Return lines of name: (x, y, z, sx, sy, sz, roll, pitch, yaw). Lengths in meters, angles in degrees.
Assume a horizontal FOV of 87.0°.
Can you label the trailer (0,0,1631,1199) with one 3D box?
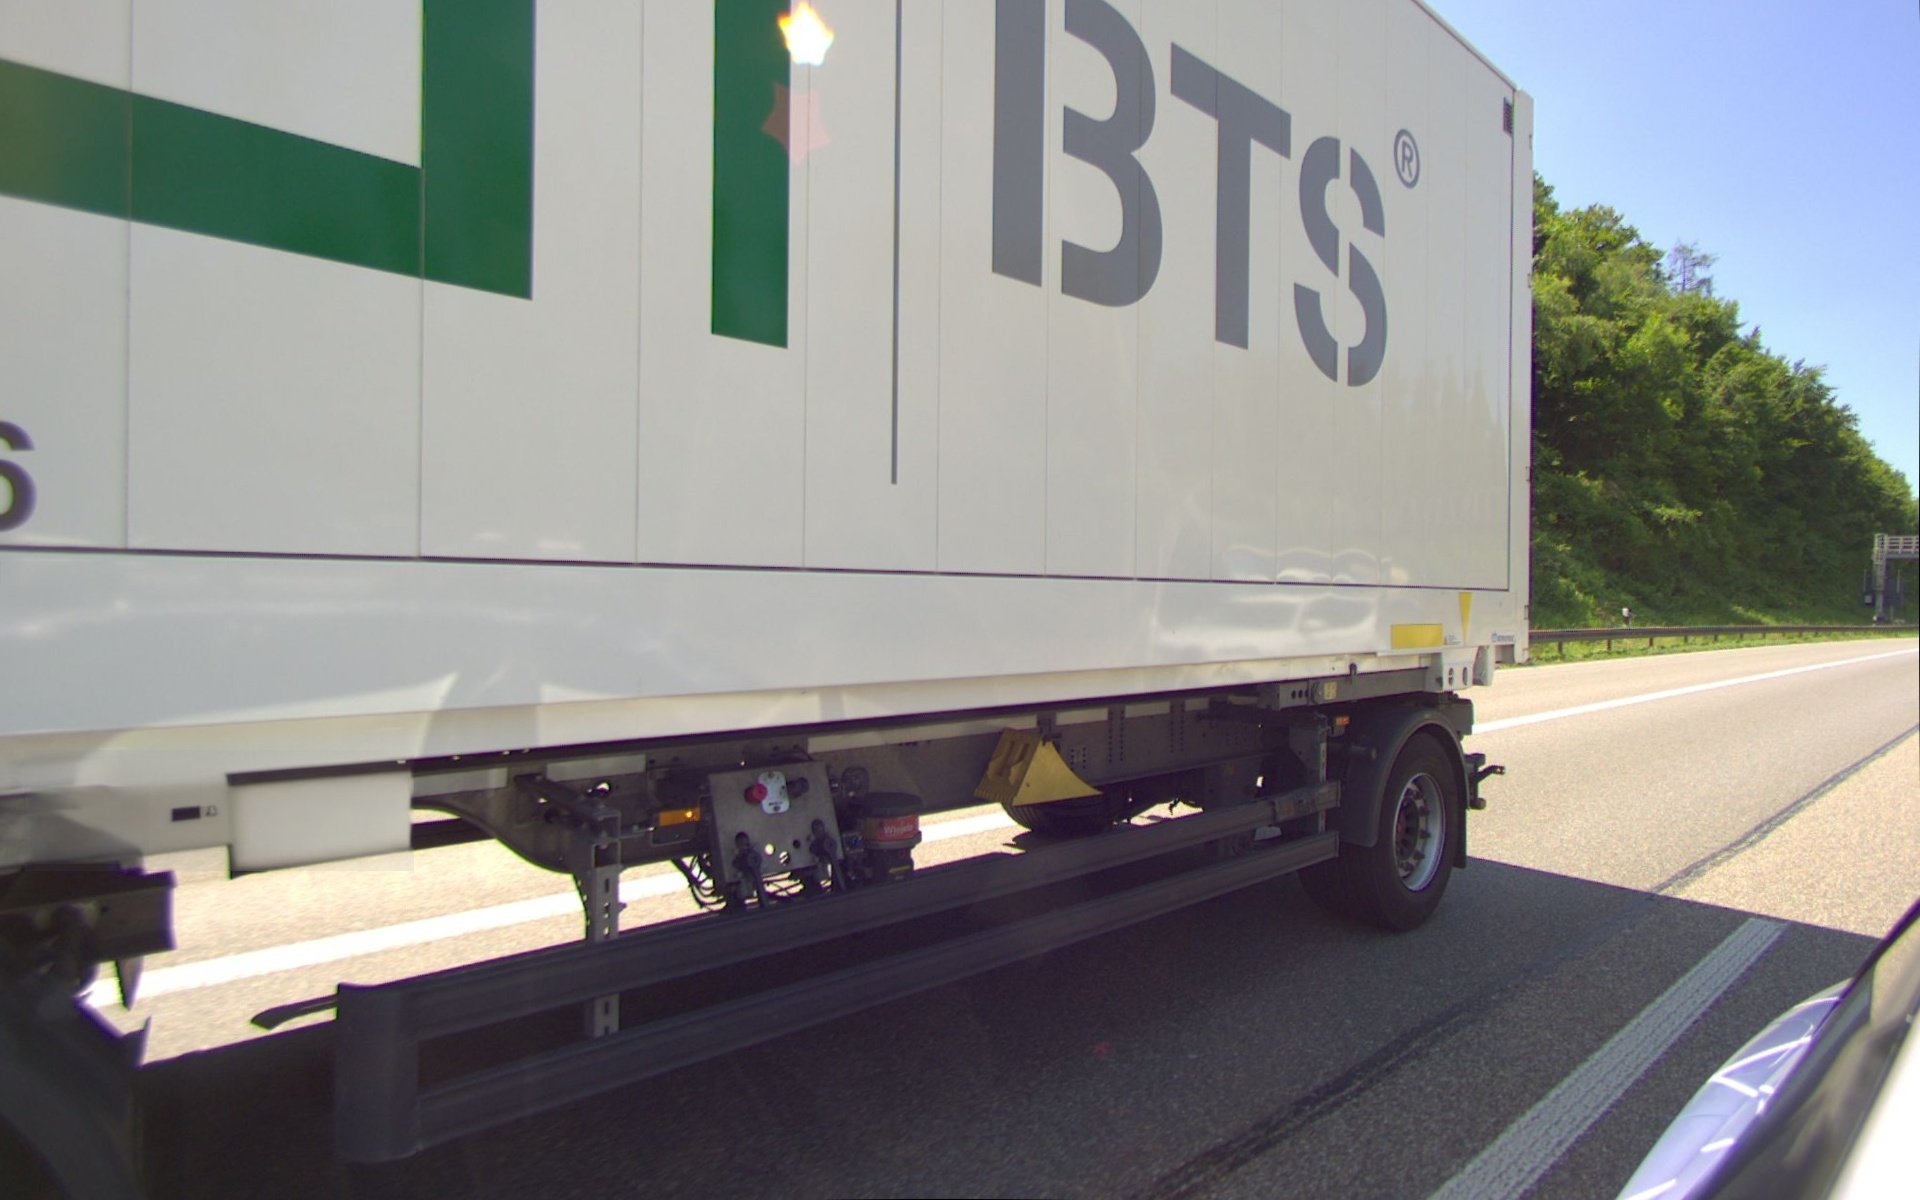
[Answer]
trailer: (-0.541, -0.761, 3.860, 9.889, 4.229, 2.684, 1, -1, -41)
